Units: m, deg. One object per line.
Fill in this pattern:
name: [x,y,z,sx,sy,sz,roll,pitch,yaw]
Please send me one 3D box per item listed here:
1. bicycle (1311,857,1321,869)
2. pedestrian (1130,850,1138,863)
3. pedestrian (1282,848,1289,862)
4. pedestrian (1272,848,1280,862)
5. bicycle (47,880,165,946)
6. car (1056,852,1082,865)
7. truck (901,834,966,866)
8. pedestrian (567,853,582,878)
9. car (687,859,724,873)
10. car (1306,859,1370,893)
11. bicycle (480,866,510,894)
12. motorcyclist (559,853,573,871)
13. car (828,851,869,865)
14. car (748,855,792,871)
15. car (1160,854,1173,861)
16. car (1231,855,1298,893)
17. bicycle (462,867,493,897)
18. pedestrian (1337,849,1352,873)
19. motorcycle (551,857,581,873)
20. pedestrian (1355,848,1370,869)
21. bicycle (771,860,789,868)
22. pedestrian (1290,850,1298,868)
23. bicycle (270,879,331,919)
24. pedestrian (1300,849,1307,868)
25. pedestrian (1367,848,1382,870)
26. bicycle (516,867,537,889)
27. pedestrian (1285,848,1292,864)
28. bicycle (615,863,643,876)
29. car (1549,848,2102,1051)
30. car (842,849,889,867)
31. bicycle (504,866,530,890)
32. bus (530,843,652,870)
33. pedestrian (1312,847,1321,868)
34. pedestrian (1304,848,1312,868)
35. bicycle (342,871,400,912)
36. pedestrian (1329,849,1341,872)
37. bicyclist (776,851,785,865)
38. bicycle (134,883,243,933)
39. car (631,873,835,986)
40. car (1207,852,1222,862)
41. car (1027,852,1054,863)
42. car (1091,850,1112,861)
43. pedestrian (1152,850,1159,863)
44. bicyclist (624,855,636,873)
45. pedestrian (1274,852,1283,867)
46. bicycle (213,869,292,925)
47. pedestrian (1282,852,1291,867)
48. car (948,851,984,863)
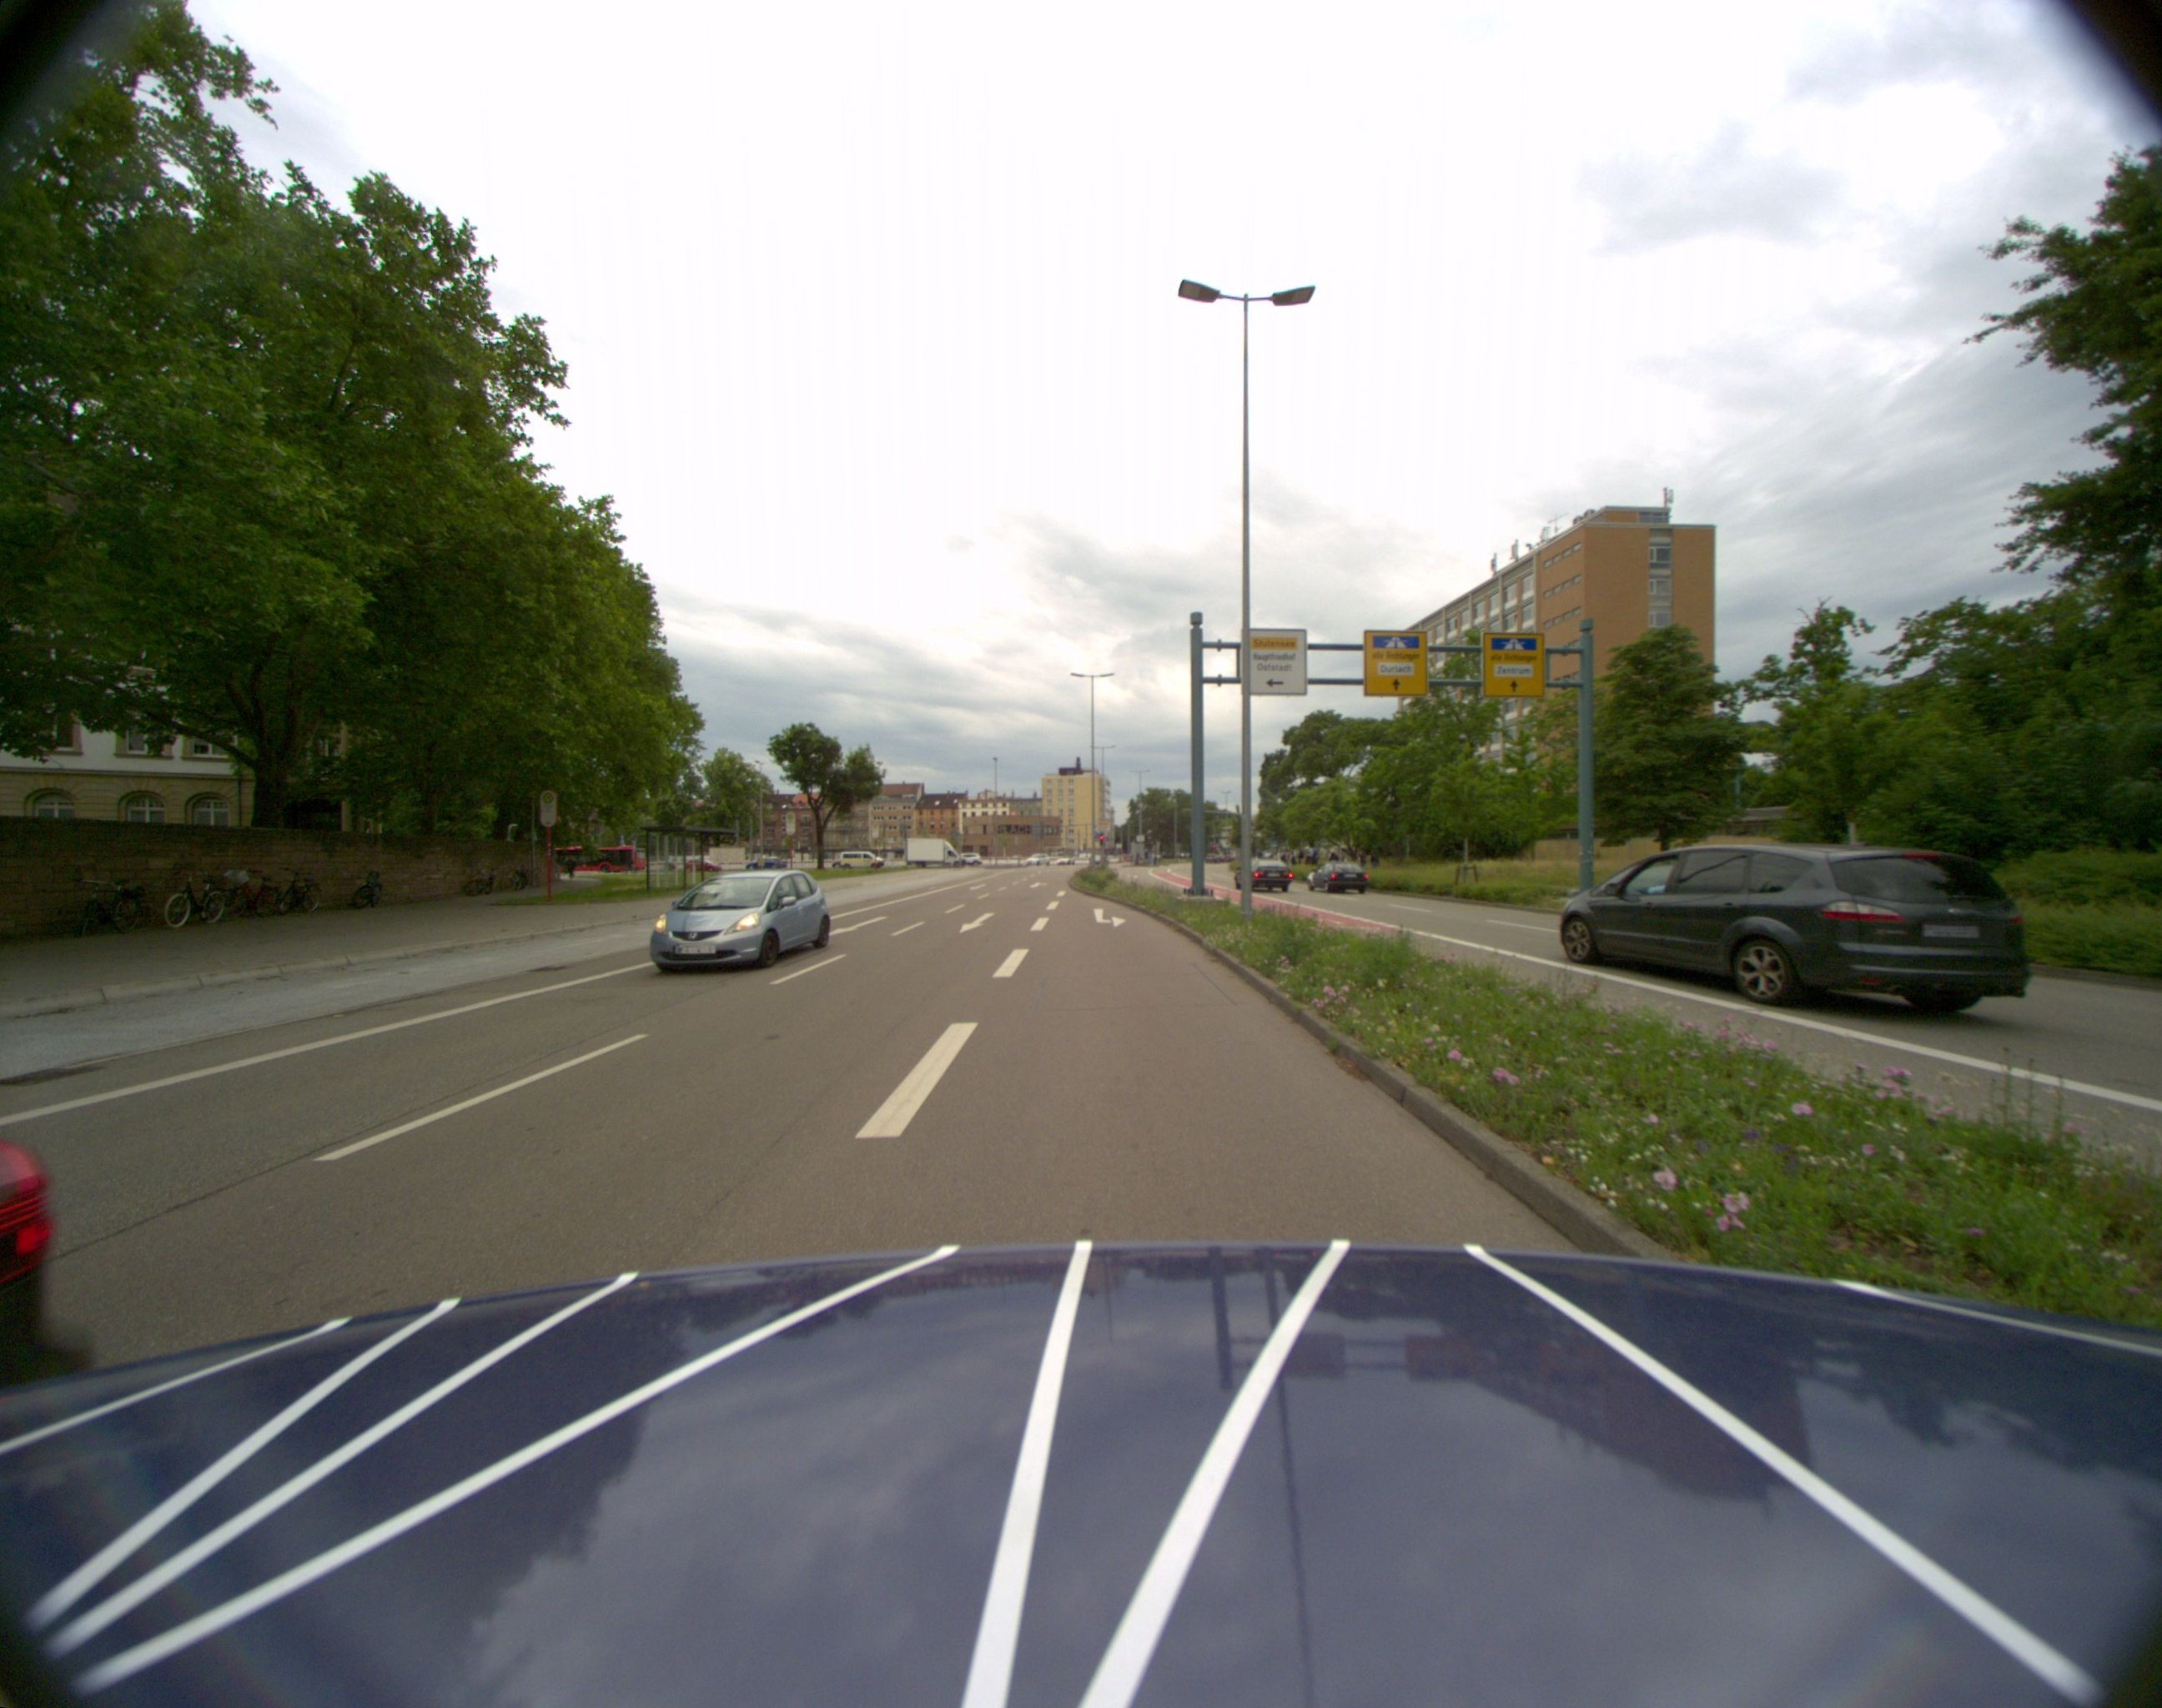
bicycle: [18.499,0.709,59.769,0.661,0.882,1.717,1,0,16]
pedestrian: [6.984,0.333,99.721,0.917,1.794,0.541,1,1,17]
pedestrian: [24.239,0.093,90.065,0.708,1.661,0.890,-2,0,4]
pedestrian: [23.125,0.147,90.158,0.708,1.661,0.943,-1,0,4]
bicycle: [-18.447,1.077,14.430,0.722,1.093,1.788,1,0,-28]
car: [-1.631,0.637,104.822,1.834,1.753,3.919,1,0,27]
truck: [-16.523,-0.503,85.491,6.852,3.393,2.559,-1,2,-5]
pedestrian: [-35.030,0.795,52.531,0.759,1.725,0.820,0,1,-39]
car: [-41.660,1.313,84.303,3.431,1.372,1.288,-1,-7,-5]
car: [11.218,0.928,33.371,1.611,1.373,3.809,1,0,2]
bicycle: [-24.245,1.062,31.453,0.596,1.123,1.709,1,0,-25]
motorcyclist: [-54.602,0.844,80.552,0.918,1.818,0.928,1,0,-12]
car: [-27.335,0.491,89.262,4.283,1.628,1.690,1,0,1]
car: [-36.581,1.067,89.555,4.430,1.735,1.764,1,0,-4]
car: [17.086,0.715,151.308,1.782,1.255,3.536,-1,1,19]
car: [8.054,0.829,33.839,1.768,1.452,4.791,1,1,0]
bicycle: [-23.664,1.080,29.813,0.596,1.129,1.709,1,0,-25]
pedestrian: [18.837,0.497,54.303,0.709,1.663,0.767,1,0,-5]
motorcycle: [-54.609,1.168,80.570,2.515,1.592,0.928,1,0,-12]
pedestrian: [17.670,0.281,47.645,0.646,1.350,0.711,1,0,-1]
bicycle: [-32.544,1.067,82.242,1.695,0.910,0.767,1,0,-10]
pedestrian: [19.373,0.442,69.088,0.622,1.685,0.747,1,0,15]
bicycle: [-20.046,1.131,19.541,0.417,0.937,1.523,1,0,-17]
pedestrian: [20.151,0.438,68.768,0.579,1.702,0.763,1,0,19]
pedestrian: [18.414,0.299,47.664,0.646,1.354,0.680,1,0,-2]
bicycle: [-26.362,1.123,36.141,0.552,0.986,1.633,1,0,-28]
pedestrian: [23.374,0.187,85.639,0.638,1.790,0.762,-1,0,4]
bicycle: [-48.529,1.651,81.593,2.391,1.316,0.764,1,0,-6]
car: [7.611,0.789,8.597,1.925,1.655,4.398,1,1,1]
car: [-24.132,0.437,85.076,4.712,1.909,1.919,-1,3,-3]
bicycle: [-25.650,1.088,34.570,0.596,1.053,1.709,1,0,-25]
bus: [-57.083,0.298,88.741,12.091,2.891,2.937,-1,0,-3]
pedestrian: [18.505,0.297,59.765,0.661,1.622,0.764,1,0,16]
pedestrian: [17.894,0.318,59.926,0.575,1.599,0.617,1,0,16]
bicycle: [-20.499,1.060,21.973,0.599,1.098,1.652,1,0,-19]
pedestrian: [18.131,0.480,54.252,0.587,1.650,0.720,1,0,-5]
bicyclist: [-32.495,0.458,82.252,0.740,1.499,0.767,1,0,-10]
bicycle: [-19.027,1.129,16.255,0.656,0.945,1.767,1,0,-17]
car: [-5.555,1.126,12.671,1.671,1.457,3.659,-1,1,0]
car: [22.920,0.444,130.306,1.812,1.657,3.955,1,1,23]
car: [-5.168,0.453,96.810,1.514,1.382,3.439,1,0,37]
car: [2.857,0.243,105.395,1.838,1.465,3.717,1,0,19]
pedestrian: [9.830,0.326,100.118,0.777,1.657,0.706,1,0,-8]
bicyclist: [-48.452,1.054,81.599,0.896,1.849,0.764,1,0,-5]
pedestrian: [19.653,0.532,75.571,0.730,1.471,0.813,1,0,4]
bicycle: [-19.576,0.994,17.993,0.501,1.214,1.624,1,0,-17]
pedestrian: [20.400,0.526,75.476,0.637,1.471,0.762,1,0,4]
car: [-13.884,0.364,91.722,4.037,1.466,1.817,1,0,-22]
